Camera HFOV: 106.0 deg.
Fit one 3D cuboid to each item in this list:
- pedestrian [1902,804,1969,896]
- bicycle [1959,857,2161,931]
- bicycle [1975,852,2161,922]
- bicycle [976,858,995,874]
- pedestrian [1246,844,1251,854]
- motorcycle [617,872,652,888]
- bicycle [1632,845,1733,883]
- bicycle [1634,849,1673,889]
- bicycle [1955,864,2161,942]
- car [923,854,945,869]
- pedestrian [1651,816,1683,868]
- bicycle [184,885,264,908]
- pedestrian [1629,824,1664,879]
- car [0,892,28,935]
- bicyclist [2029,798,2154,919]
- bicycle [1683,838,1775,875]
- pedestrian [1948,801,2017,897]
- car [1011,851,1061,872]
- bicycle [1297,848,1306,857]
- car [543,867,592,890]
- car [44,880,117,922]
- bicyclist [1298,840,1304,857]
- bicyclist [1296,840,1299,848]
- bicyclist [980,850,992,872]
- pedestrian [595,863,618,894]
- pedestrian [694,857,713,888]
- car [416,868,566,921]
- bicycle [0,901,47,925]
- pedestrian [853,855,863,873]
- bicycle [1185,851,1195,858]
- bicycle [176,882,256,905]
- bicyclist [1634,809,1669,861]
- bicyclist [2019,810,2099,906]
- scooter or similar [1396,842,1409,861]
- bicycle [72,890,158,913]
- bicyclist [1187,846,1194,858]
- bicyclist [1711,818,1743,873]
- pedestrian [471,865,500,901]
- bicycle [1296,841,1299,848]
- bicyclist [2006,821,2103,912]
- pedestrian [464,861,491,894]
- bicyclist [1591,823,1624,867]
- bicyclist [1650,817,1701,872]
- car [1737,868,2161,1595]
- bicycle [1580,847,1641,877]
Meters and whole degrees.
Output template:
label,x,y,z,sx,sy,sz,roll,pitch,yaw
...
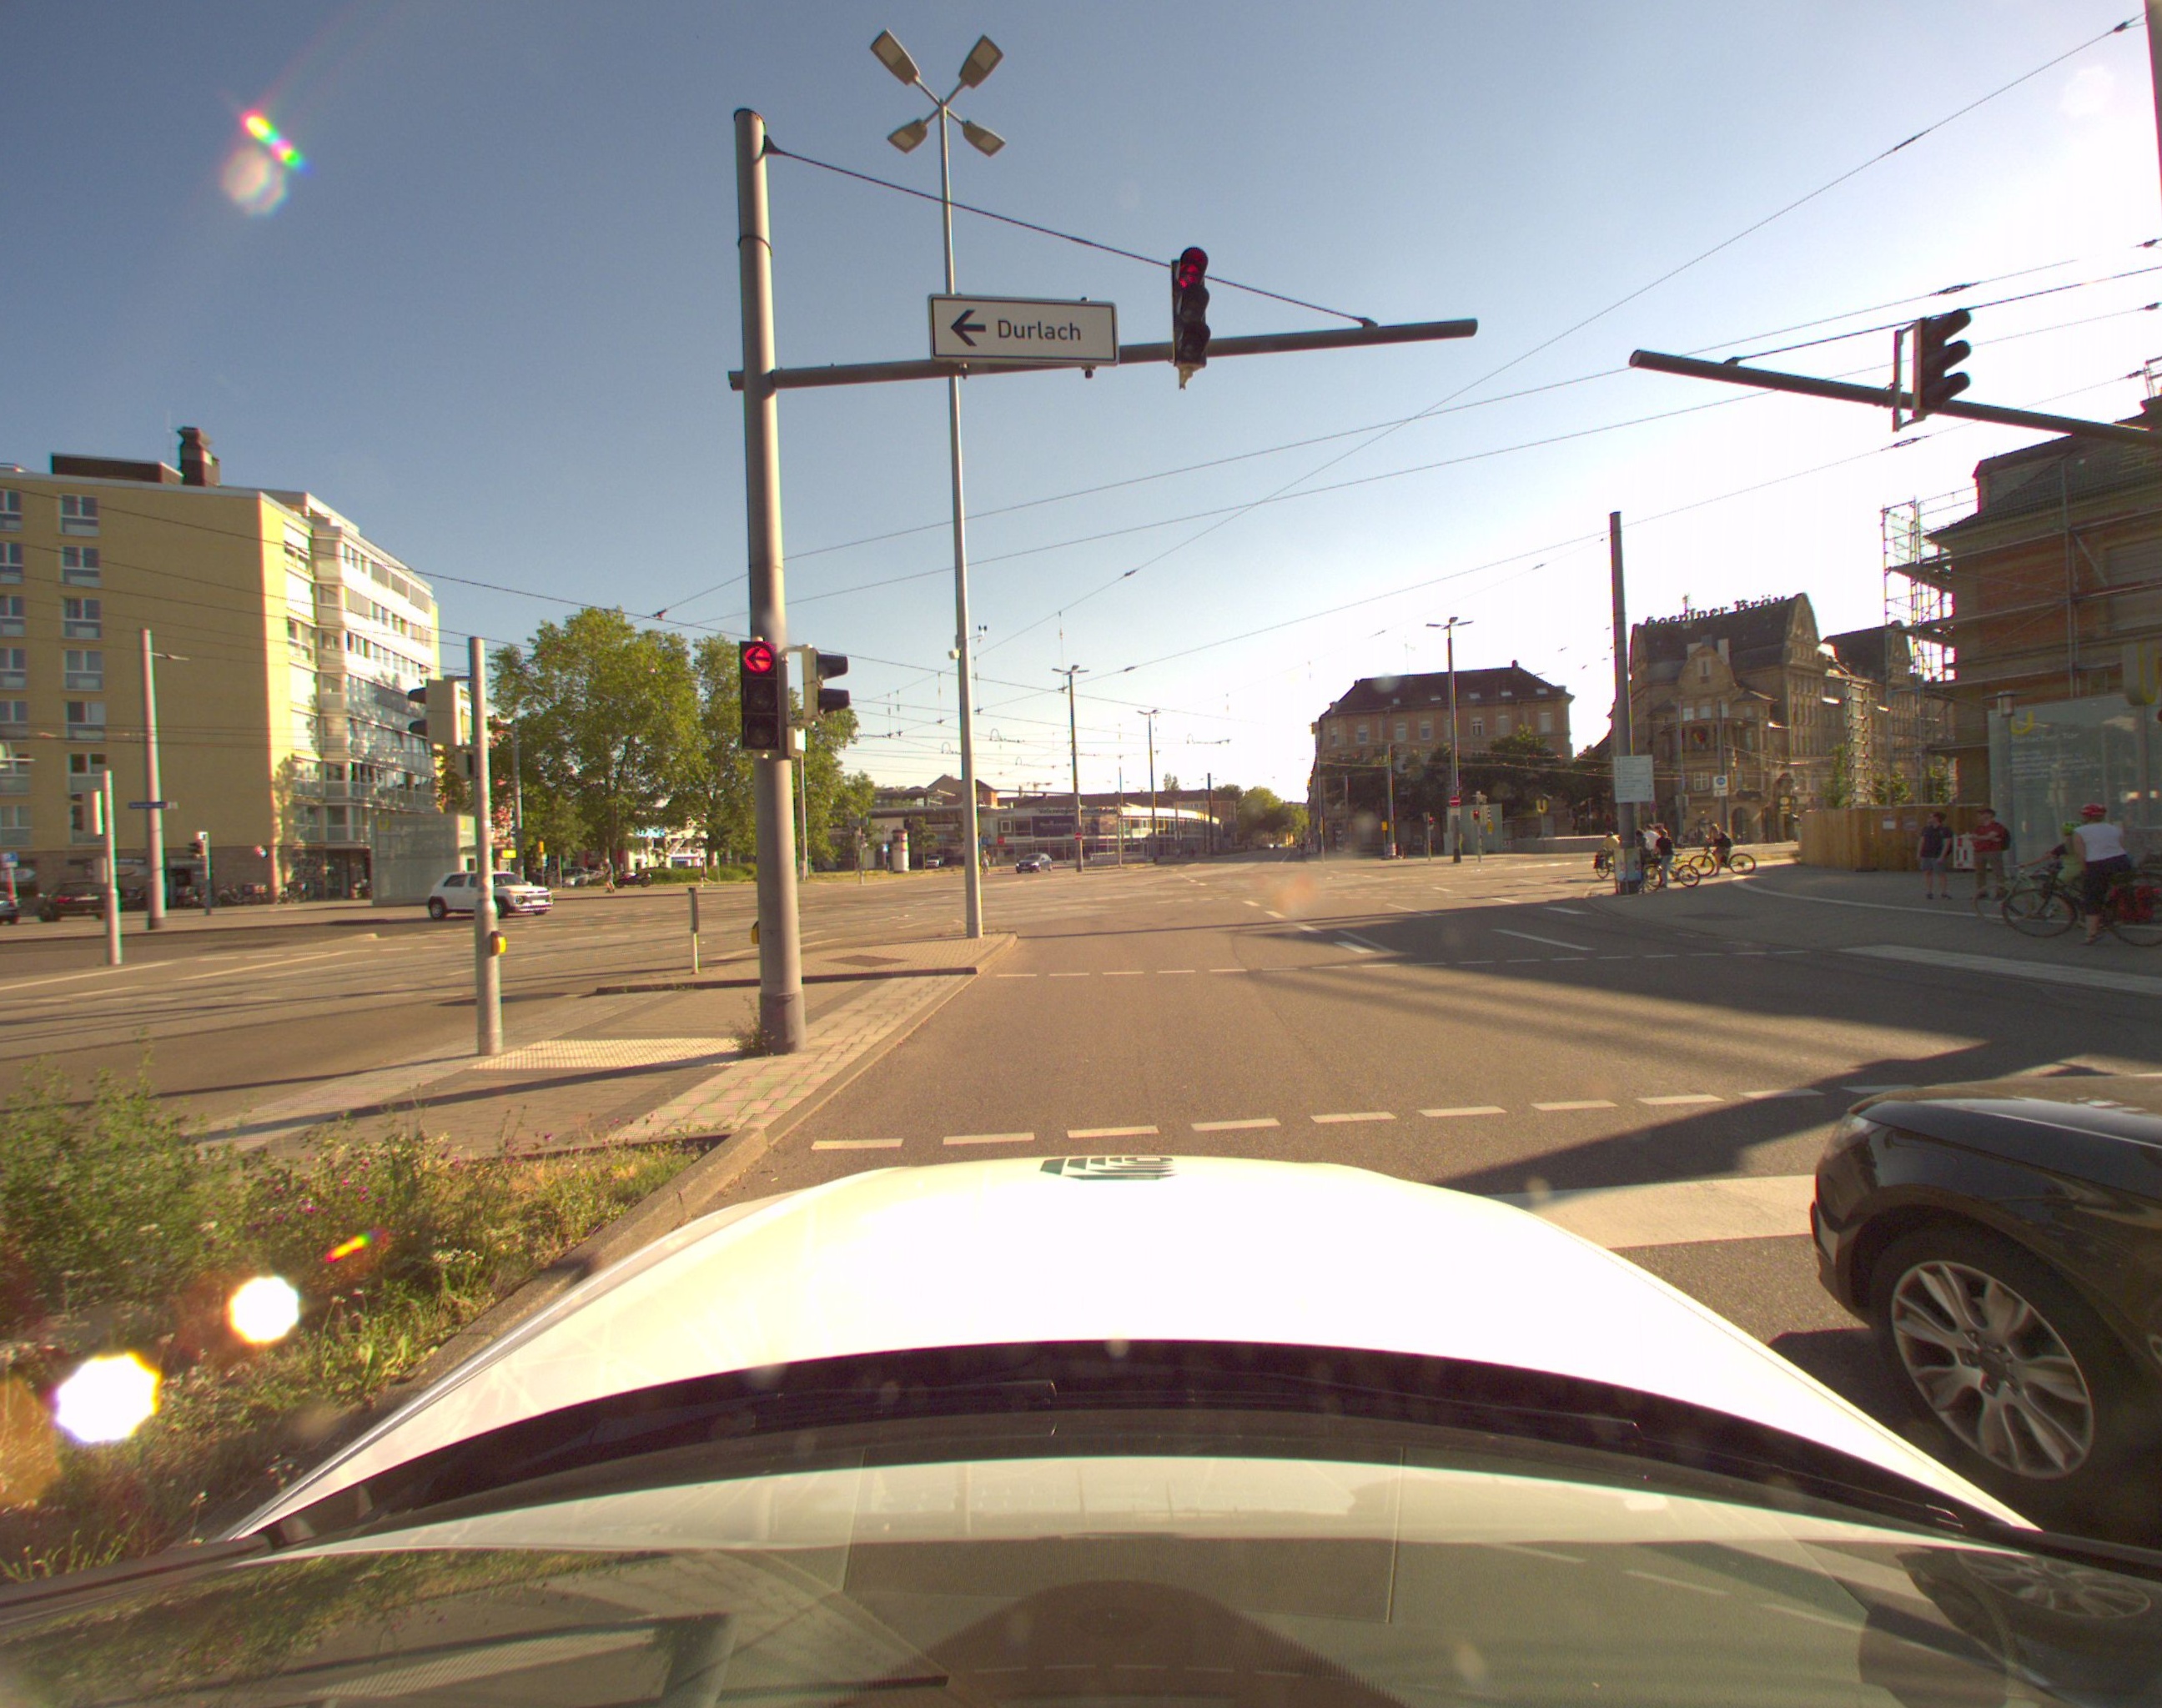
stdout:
label,x,y,z,sx,sy,sz,roll,pitch,yaw
pedestrian,17.337,-0.085,16.531,0.672,1.807,0.680,-3,0,-19
bicycle,14.445,0.548,12.016,0.657,0.963,2.033,-4,0,-3
bicycle,15.476,0.481,12.649,0.661,0.963,2.018,-4,1,-25
bicycle,-7.022,0.881,60.004,0.607,1.189,1.878,-1,-1,19
pedestrian,34.440,-0.944,167.439,0.713,2.014,0.758,0,-1,3
motorcycle,-27.263,1.578,49.776,1.779,0.914,0.675,0,-1,-19
bicycle,17.208,0.282,23.386,0.701,1.049,2.303,0,-1,-22
bicycle,15.952,0.387,22.731,0.692,1.049,2.335,0,1,31
bicycle,13.450,0.619,11.176,0.656,0.963,2.033,0,-1,-3
car,-18.001,0.884,100.016,1.988,1.750,3.997,0,-1,-1
pedestrian,21.935,-0.440,30.495,0.646,1.922,0.689,0,-1,-6
bicycle,-46.523,2.302,44.243,3.041,1.151,0.637,0,-1,-16
pedestrian,21.139,-0.101,30.441,0.730,2.014,0.760,0,-1,-6
car,-47.007,2.553,34.953,3.948,1.706,2.013,-1,-1,35
bicyclist,13.472,0.065,10.876,0.664,1.553,0.794,0,-1,-3
bicycle,21.232,0.104,26.753,2.290,1.049,0.539,-5,-1,36
pedestrian,17.539,-0.092,15.853,0.672,1.807,0.680,0,-1,-19
car,-3.403,0.564,61.971,1.975,1.585,4.024,-1,-1,29
bicycle,22.547,-0.127,83.305,0.654,0.952,1.602,0,-1,5
car,-37.304,1.721,59.259,1.772,1.567,3.983,0,-1,-12
car,-44.192,2.024,35.969,3.948,1.706,1.730,-1,-1,35
bicyclist,22.543,-0.524,83.318,0.516,1.700,0.517,0,-1,4
bicyclist,31.736,-1.448,119.270,0.405,1.116,0.400,-1,-1,13
bicyclist,-7.000,0.535,60.074,0.593,1.615,0.826,-1,-1,19
pedestrian,-26.606,1.380,45.663,0.790,1.706,0.760,-1,-1,9
pedestrian,-23.088,1.153,49.833,0.790,1.886,0.760,-1,-1,9
car,-19.833,1.339,27.438,3.962,1.662,1.791,-1,-1,10
bicycle,-54.456,2.987,41.064,3.041,1.151,0.637,0,-1,-16
pedestrian,-20.837,0.959,76.114,0.854,1.694,0.497,0,-1,-1
bicycle,15.311,0.074,114.307,0.632,0.870,2.249,-1,-1,32
bicycle,-46.270,2.122,43.592,3.041,1.151,0.637,0,-1,-16
bicyclist,15.969,-0.517,22.807,0.701,1.439,0.953,-1,-1,30
bicyclist,15.386,0.065,12.816,0.619,1.454,0.667,0,-1,-27
scooter or similar,24.699,-0.179,62.589,0.780,1.376,1.916,-1,-1,16
bicycle,-50.314,2.468,42.463,3.041,1.151,0.637,0,-1,-16
bicyclist,15.371,-0.280,114.423,0.647,1.572,0.928,-1,-1,31
bicyclist,21.204,-0.284,26.755,0.785,1.779,0.526,-1,-1,37
pedestrian,-28.197,1.358,38.565,0.790,1.706,0.760,-1,-1,9
bicycle,31.696,-1.366,119.163,0.407,0.941,1.852,-1,-1,15
bicyclist,14.428,0.179,12.085,0.614,1.315,0.673,0,-1,-3
pedestrian,-31.081,1.202,41.955,0.790,1.706,0.760,-1,-1,9
bicyclist,19.171,-0.313,29.676,0.514,1.557,0.945,0,-1,-6
bicyclist,17.154,-0.267,23.505,0.711,1.557,0.940,0,-1,-22
car,2.887,0.734,0.635,1.617,1.404,4.001,0,0,2
bicycle,19.183,0.273,29.569,0.533,1.049,2.315,0,1,-6
